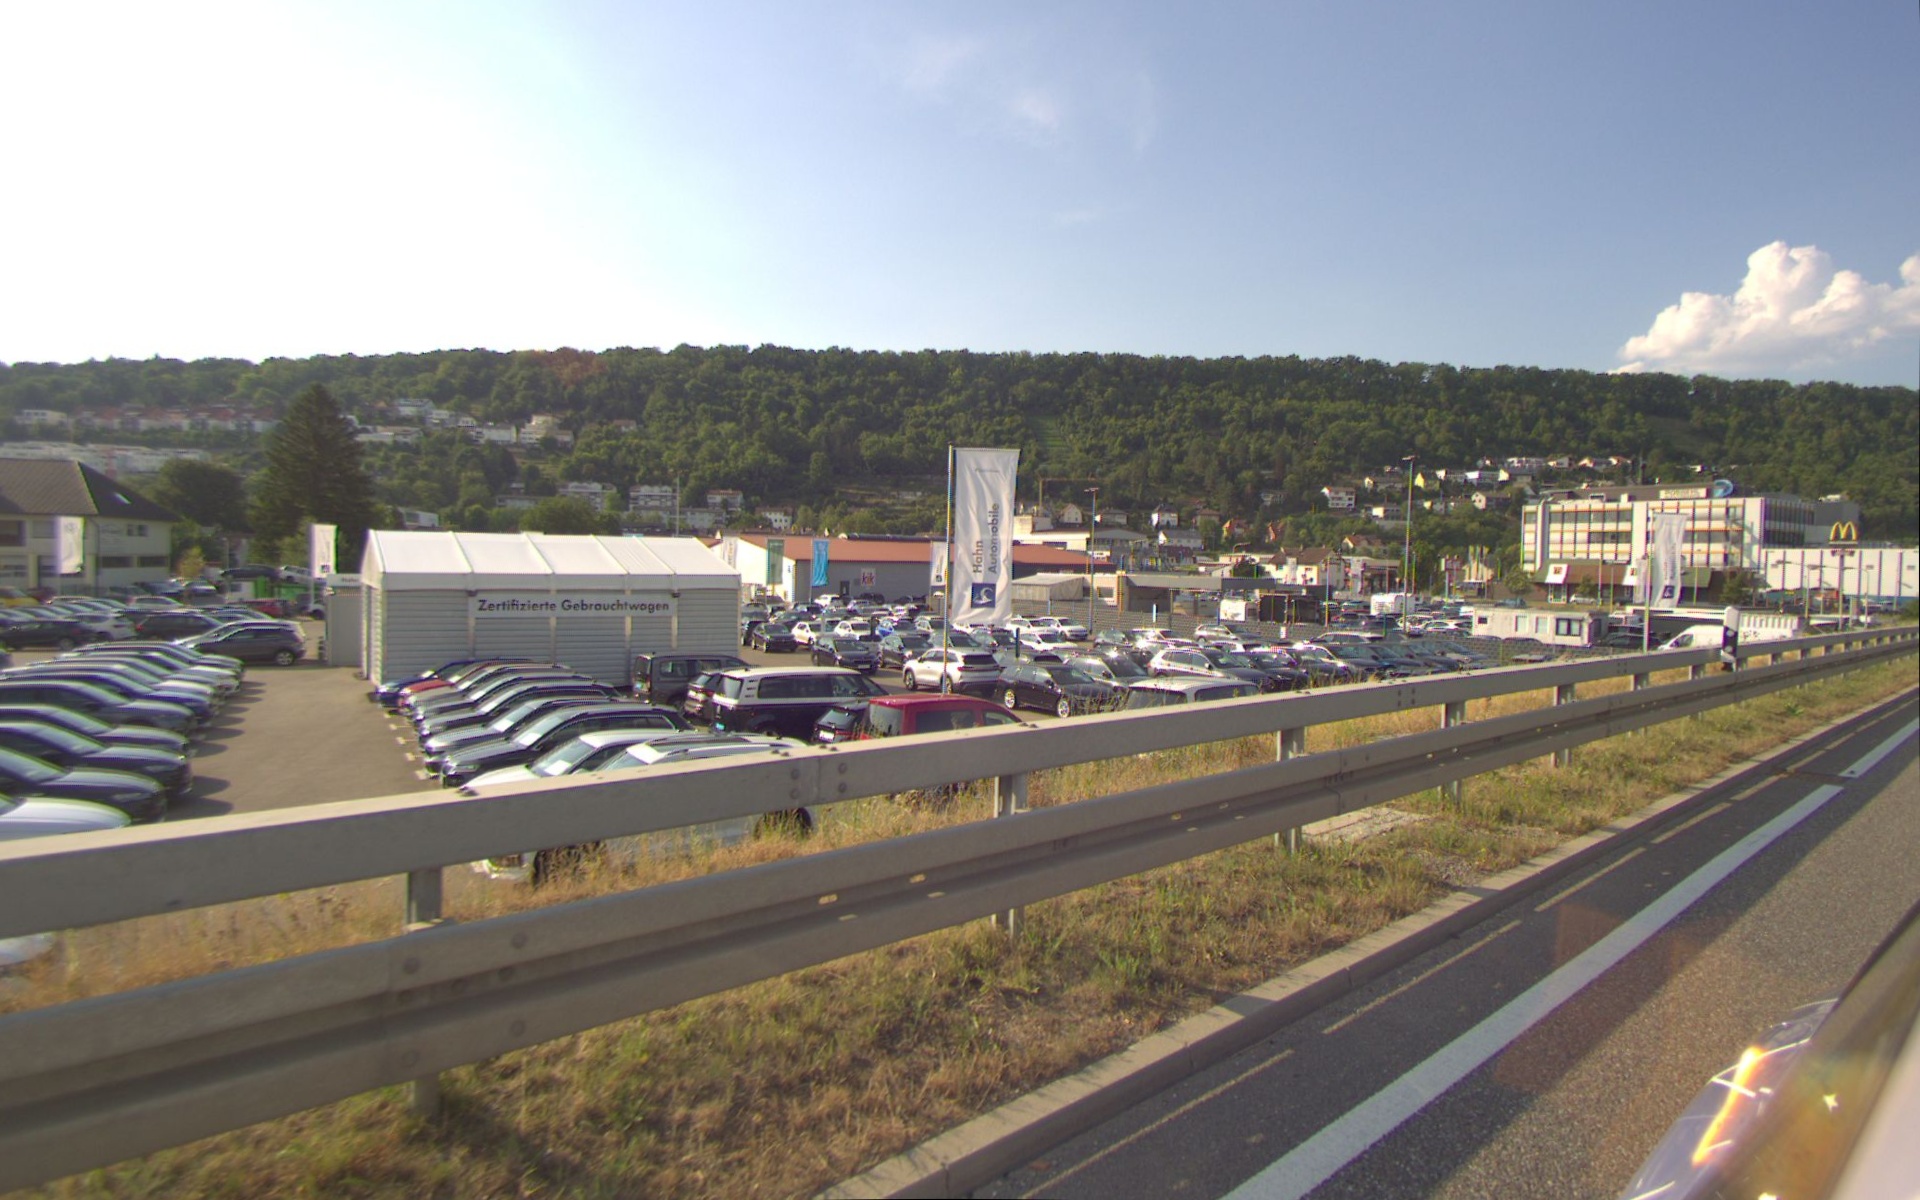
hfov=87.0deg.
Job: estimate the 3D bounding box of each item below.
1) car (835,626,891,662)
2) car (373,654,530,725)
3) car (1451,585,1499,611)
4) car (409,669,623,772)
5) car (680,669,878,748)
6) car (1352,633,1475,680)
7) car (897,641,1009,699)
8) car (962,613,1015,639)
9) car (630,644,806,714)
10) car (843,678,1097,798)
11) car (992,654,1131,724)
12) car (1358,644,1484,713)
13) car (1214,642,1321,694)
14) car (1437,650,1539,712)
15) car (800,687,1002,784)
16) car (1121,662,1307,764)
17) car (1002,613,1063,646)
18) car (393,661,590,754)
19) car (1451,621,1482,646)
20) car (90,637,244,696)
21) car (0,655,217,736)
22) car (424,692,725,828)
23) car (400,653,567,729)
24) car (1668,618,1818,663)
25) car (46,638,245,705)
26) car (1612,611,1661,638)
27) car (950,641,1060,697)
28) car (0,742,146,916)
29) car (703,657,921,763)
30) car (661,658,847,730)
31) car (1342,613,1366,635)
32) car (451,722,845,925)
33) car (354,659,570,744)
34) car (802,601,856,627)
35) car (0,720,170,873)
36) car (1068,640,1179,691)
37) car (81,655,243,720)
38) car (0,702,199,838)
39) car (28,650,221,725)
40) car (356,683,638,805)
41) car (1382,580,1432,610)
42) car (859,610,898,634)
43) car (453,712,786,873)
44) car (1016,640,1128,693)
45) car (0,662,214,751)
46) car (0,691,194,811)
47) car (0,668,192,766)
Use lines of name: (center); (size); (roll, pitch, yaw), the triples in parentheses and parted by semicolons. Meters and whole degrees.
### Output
car: (-4.843, 2.161, 50.193); (1.595, 1.594, 3.492); (0, 1, -26)
car: (-14.828, 2.542, 29.564); (3.923, 1.705, 1.781); (0, 0, -34)
car: (45.756, -0.198, 89.887); (5.200, 2.274, 1.760); (-1, 0, -38)
car: (-9.440, 2.486, 21.598); (3.923, 1.705, 1.781); (0, 0, -34)
car: (-4.589, 2.699, 25.837); (4.635, 1.541, 1.887); (0, 1, -31)
car: (19.053, 2.328, 42.704); (1.849, 1.657, 4.442); (0, 1, -33)
car: (-0.330, 2.382, 35.464); (1.849, 1.657, 4.442); (0, 1, -33)
car: (1.927, 1.762, 69.231); (1.723, 1.661, 3.967); (0, 1, -33)
car: (-6.976, 2.210, 29.291); (4.635, 1.657, 1.887); (0, 0, -31)
car: (0.261, 2.494, 19.246); (4.640, 1.646, 1.885); (-1, 1, -36)
car: (2.997, 2.630, 30.771); (1.849, 1.657, 4.442); (0, 1, -33)
car: (13.335, 2.192, 29.178); (4.237, 1.646, 1.740); (-1, 1, -41)
car: (11.058, 2.411, 36.571); (1.597, 1.594, 3.488); (0, 1, -32)
car: (17.582, 2.630, 33.607); (4.240, 1.646, 1.739); (-1, 1, -44)
car: (-1.189, 2.743, 21.115); (3.923, 1.490, 1.675); (0, 1, -34)
car: (5.661, 2.363, 22.171); (1.880, 1.646, 4.654); (0, 1, 45)
car: (4.586, 1.856, 64.769); (1.889, 1.883, 4.002); (0, 1, -33)
car: (-10.833, 2.409, 23.482); (3.923, 1.705, 1.781); (0, 0, -34)
car: (36.499, 2.392, 73.035); (1.661, 1.590, 3.749); (0, 1, 21)
car: (-26.478, 2.171, 33.972); (3.923, 1.705, 1.781); (0, 0, -34)
car: (-21.798, 2.358, 25.719); (4.640, 1.657, 1.886); (-1, 1, -36)
car: (-6.718, 2.681, 17.877); (4.642, 1.657, 1.885); (-1, 1, -37)
car: (-13.078, 2.434, 27.843); (3.923, 1.705, 1.781); (0, 0, -34)
car: (40.743, 2.041, 52.837); (1.963, 2.039, 5.897); (0, 1, -37)
car: (-23.957, 2.050, 30.021); (4.487, 1.657, 1.886); (-1, 1, -36)
car: (52.646, 1.871, 78.768); (4.739, 1.976, 1.760); (-1, 0, -38)
car: (1.580, 2.470, 37.158); (1.849, 1.657, 4.442); (0, 1, -33)
car: (-12.517, 2.786, 11.710); (4.638, 1.657, 1.887); (0, 1, -33)
car: (-3.376, 2.440, 23.401); (4.635, 1.955, 1.887); (0, 0, -31)
car: (-5.604, 2.511, 27.666); (4.635, 1.541, 1.887); (0, 1, -31)
car: (31.252, 1.849, 80.215); (1.662, 1.590, 3.746); (0, 1, 23)
car: (-3.980, 2.733, 13.389); (4.645, 1.646, 1.884); (-1, 1, -39)
car: (-12.426, 2.447, 25.389); (4.640, 1.657, 1.886); (-1, 1, -35)
car: (-8.228, 0.821, 63.150); (1.796, 1.521, 4.002); (0, 1, -33)
car: (-13.403, 2.739, 13.883); (3.923, 1.705, 1.781); (0, 0, -34)
car: (6.364, 2.521, 39.926); (1.849, 1.657, 4.442); (0, 1, -33)
car: (-25.244, 2.717, 32.209); (3.923, 1.705, 1.781); (0, 0, -34)
car: (-14.512, 2.676, 15.944); (3.923, 1.705, 1.781); (0, 0, -34)
car: (-22.726, 2.330, 27.744); (3.923, 1.705, 1.781); (0, 0, -34)
car: (-8.762, 2.623, 19.317); (4.640, 1.657, 1.886); (-1, 1, -35)
car: (39.948, -0.482, 90.335); (5.369, 2.581, 1.760); (-1, 0, -38)
car: (-5.960, 1.598, 74.500); (1.855, 1.657, 4.427); (0, 1, 10)
car: (-5.269, 2.865, 15.972); (4.642, 1.657, 1.885); (-1, 1, -37)
car: (4.171, 2.454, 38.452); (1.849, 1.657, 4.442); (0, 1, -33)
car: (-20.293, 2.439, 23.585); (4.640, 1.657, 1.886); (-1, 1, -36)
car: (-16.090, 2.657, 17.916); (3.923, 1.705, 1.781); (0, 0, -34)
car: (-18.857, 2.456, 21.517); (3.923, 1.705, 1.781); (0, 0, -34)
